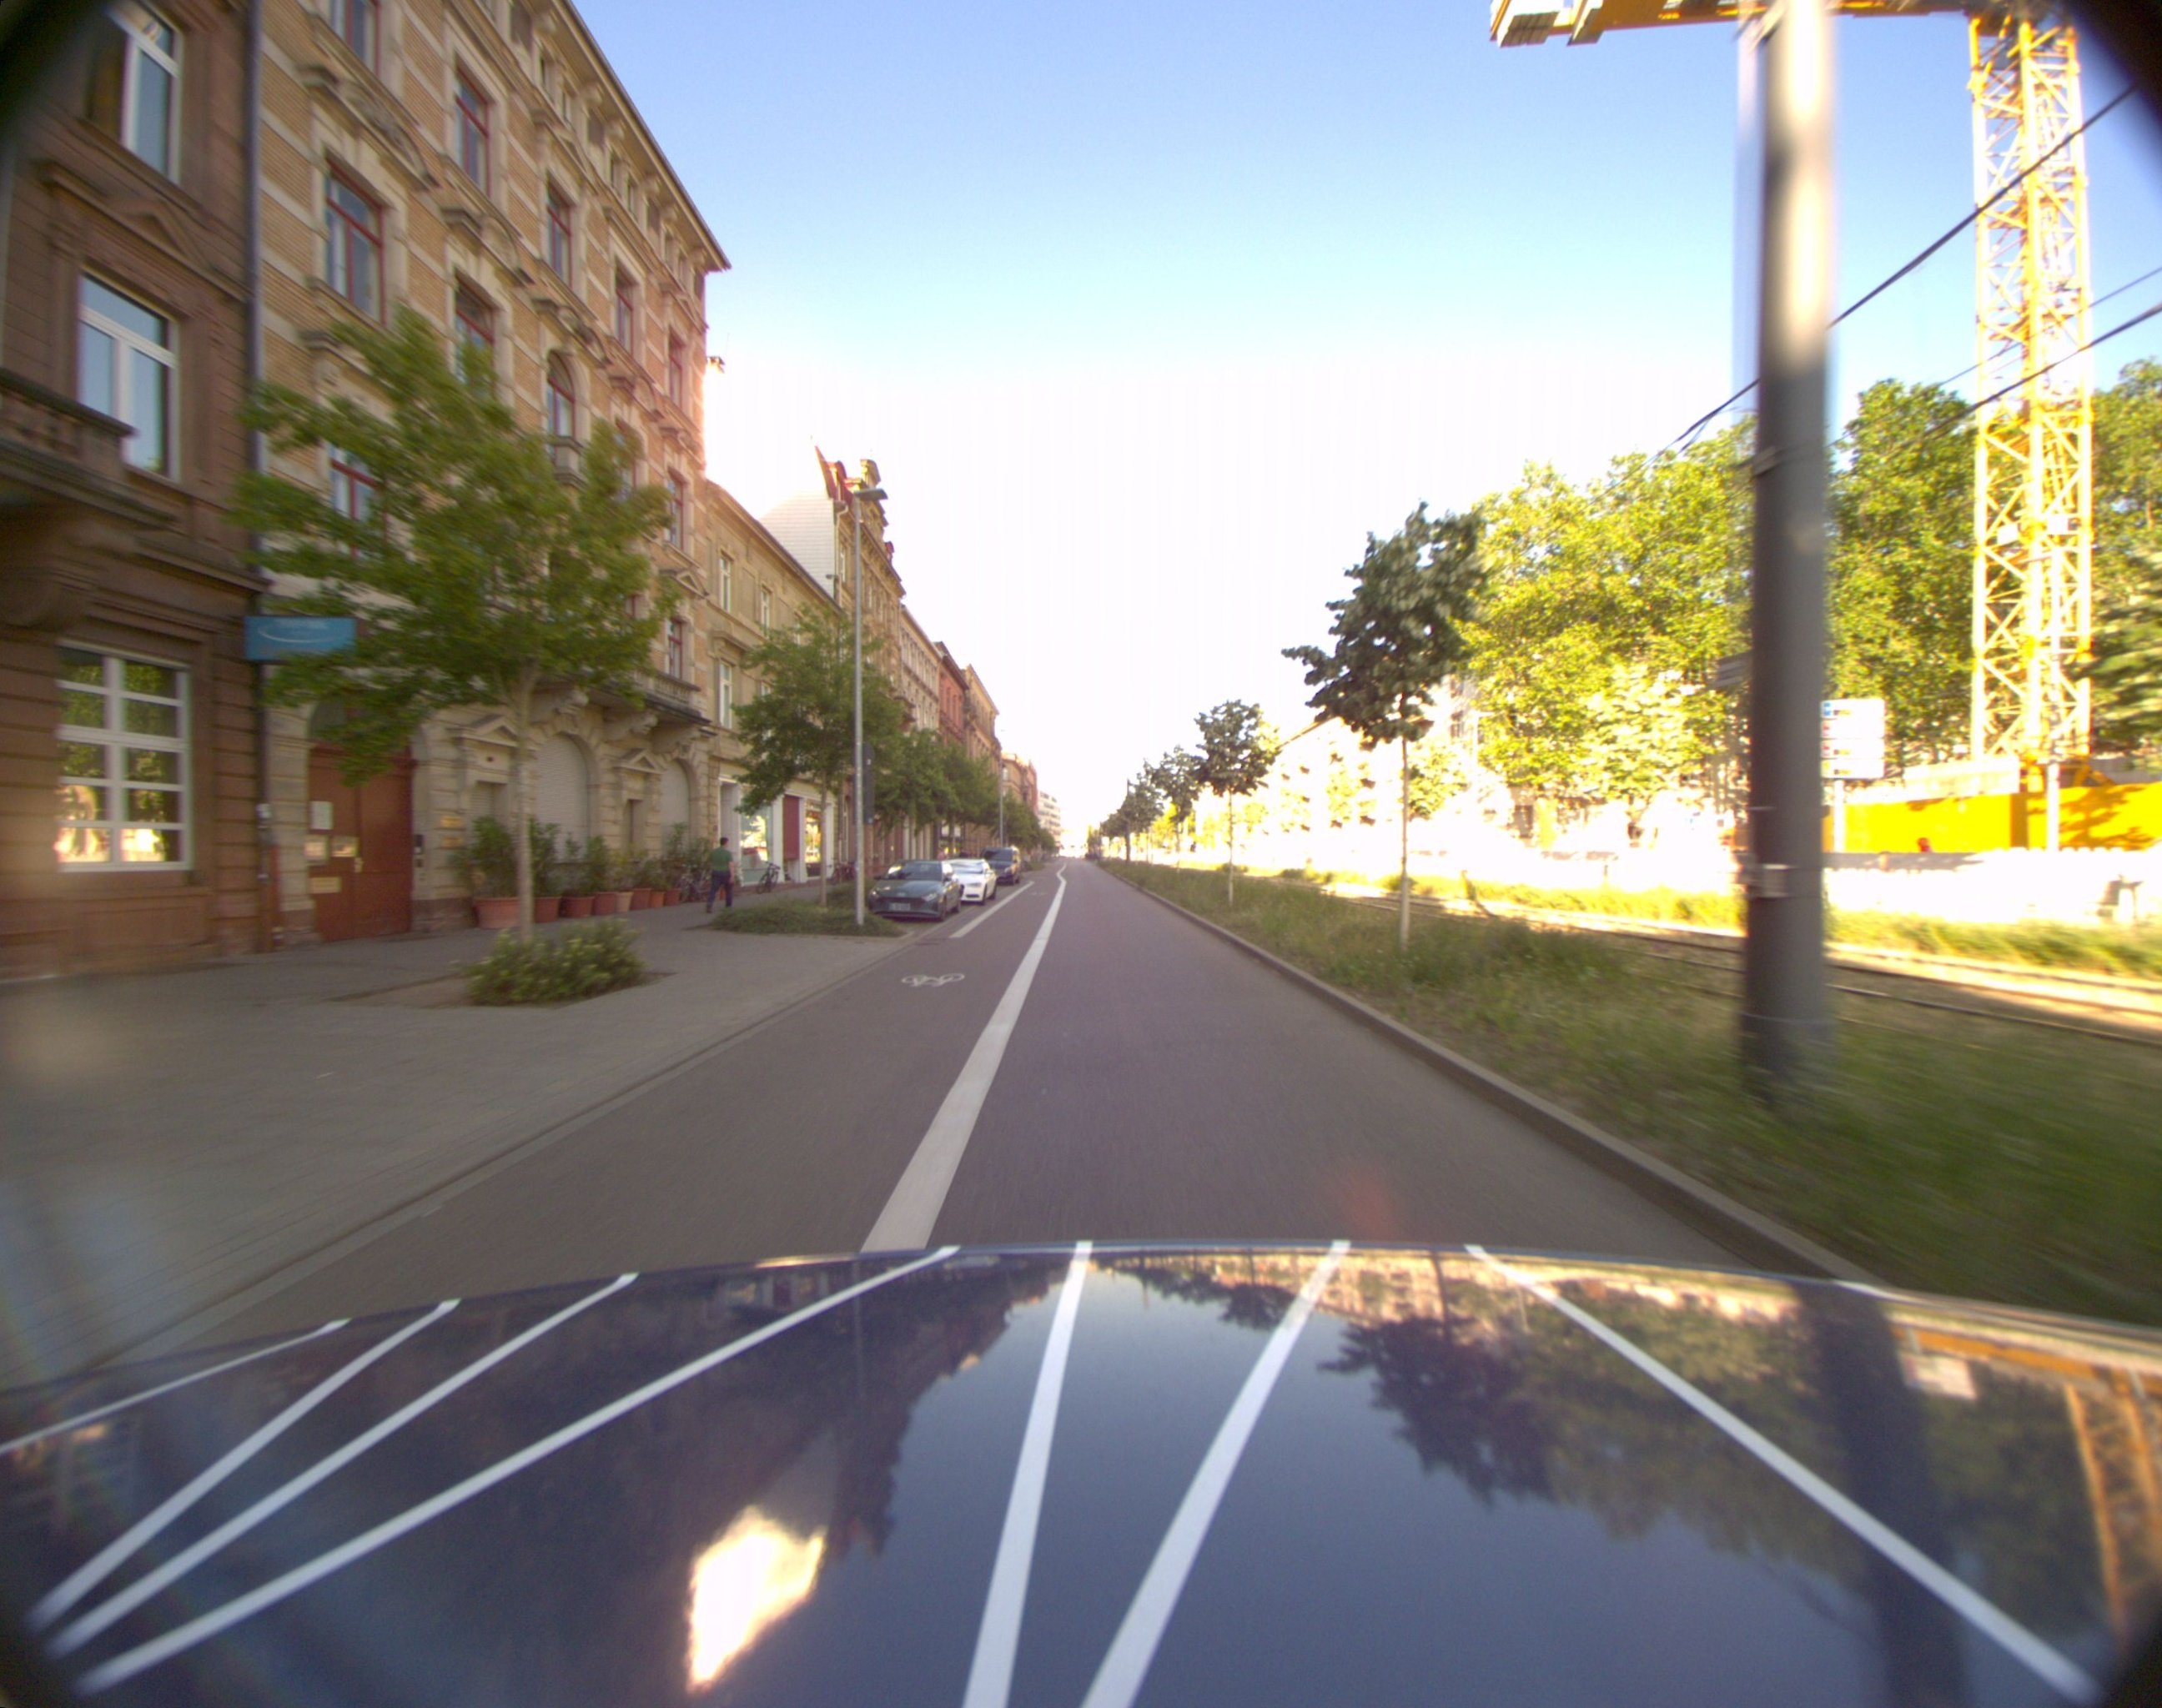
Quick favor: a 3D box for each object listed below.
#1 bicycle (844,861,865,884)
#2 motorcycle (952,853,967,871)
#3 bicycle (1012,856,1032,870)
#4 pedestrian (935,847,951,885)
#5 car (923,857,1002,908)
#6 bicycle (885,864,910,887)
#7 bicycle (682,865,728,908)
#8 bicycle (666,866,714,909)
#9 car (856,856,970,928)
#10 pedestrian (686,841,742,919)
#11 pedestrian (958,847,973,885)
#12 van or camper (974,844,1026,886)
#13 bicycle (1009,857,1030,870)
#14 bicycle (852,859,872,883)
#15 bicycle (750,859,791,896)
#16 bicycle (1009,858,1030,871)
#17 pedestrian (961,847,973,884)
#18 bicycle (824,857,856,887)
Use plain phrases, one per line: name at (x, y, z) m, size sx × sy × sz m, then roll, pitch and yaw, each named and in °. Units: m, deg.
bicycle at (-10.586, 0.848, 35.557) m, size 0.344 × 1.027 × 2.072 m, roll -1°, pitch 1°, yaw 0°
motorcycle at (-9.757, 0.653, 61.027) m, size 0.788 × 1.413 × 2.053 m, roll 0°, pitch 0°, yaw 0°
bicycle at (-4.981, 0.755, 63.896) m, size 1.584 × 1.112 × 0.577 m, roll 0°, pitch 1°, yaw 2°
pedestrian at (-6.457, 0.555, 35.556) m, size 0.481 × 1.718 × 0.578 m, roll 0°, pitch 1°, yaw 45°
car at (-3.807, 0.849, 25.345) m, size 1.853 × 1.445 × 5.251 m, roll 1°, pitch 0°, yaw -1°
bicycle at (-7.819, 0.890, 32.398) m, size 0.656 × 0.910 × 1.682 m, roll -1°, pitch 1°, yaw 0°
bicycle at (-10.177, 0.859, 20.619) m, size 0.385 × 1.074 × 1.676 m, roll -1°, pitch 0°, yaw 1°
bicycle at (-10.565, 0.876, 20.566) m, size 0.385 × 1.074 × 1.676 m, roll -1°, pitch 0°, yaw 1°
car at (-4.102, 0.862, 19.296) m, size 1.853 × 1.555 × 4.297 m, roll 1°, pitch 0°, yaw 1°
pedestrian at (-8.469, 0.574, 17.584) m, size 0.749 × 1.744 × 1.072 m, roll 1°, pitch 1°, yaw 1°
pedestrian at (-5.364, 0.544, 35.268) m, size 0.471 × 1.768 × 0.506 m, roll -1°, pitch 1°, yaw 19°
van or camper at (-4.021, 0.507, 38.732) m, size 1.966 × 1.960 × 5.487 m, roll 1°, pitch 0°, yaw 1°
bicycle at (-5.053, 0.787, 62.587) m, size 1.692 × 1.112 × 0.530 m, roll 0°, pitch 1°, yaw 2°
bicycle at (-10.238, 0.796, 35.558) m, size 0.325 × 1.058 × 2.072 m, roll -1°, pitch 1°, yaw 0°
bicycle at (-10.475, 0.775, 25.687) m, size 0.721 × 1.188 × 1.772 m, roll -1°, pitch 1°, yaw -3°
bicycle at (-4.928, 0.845, 61.208) m, size 1.613 × 1.046 × 0.478 m, roll 0°, pitch 1°, yaw 2°
pedestrian at (-5.449, 0.549, 36.308) m, size 0.505 × 1.718 × 0.490 m, roll -1°, pitch 1°, yaw -1°
bicycle at (-10.365, 0.767, 32.735) m, size 0.706 × 1.213 × 2.072 m, roll -1°, pitch 1°, yaw 0°
